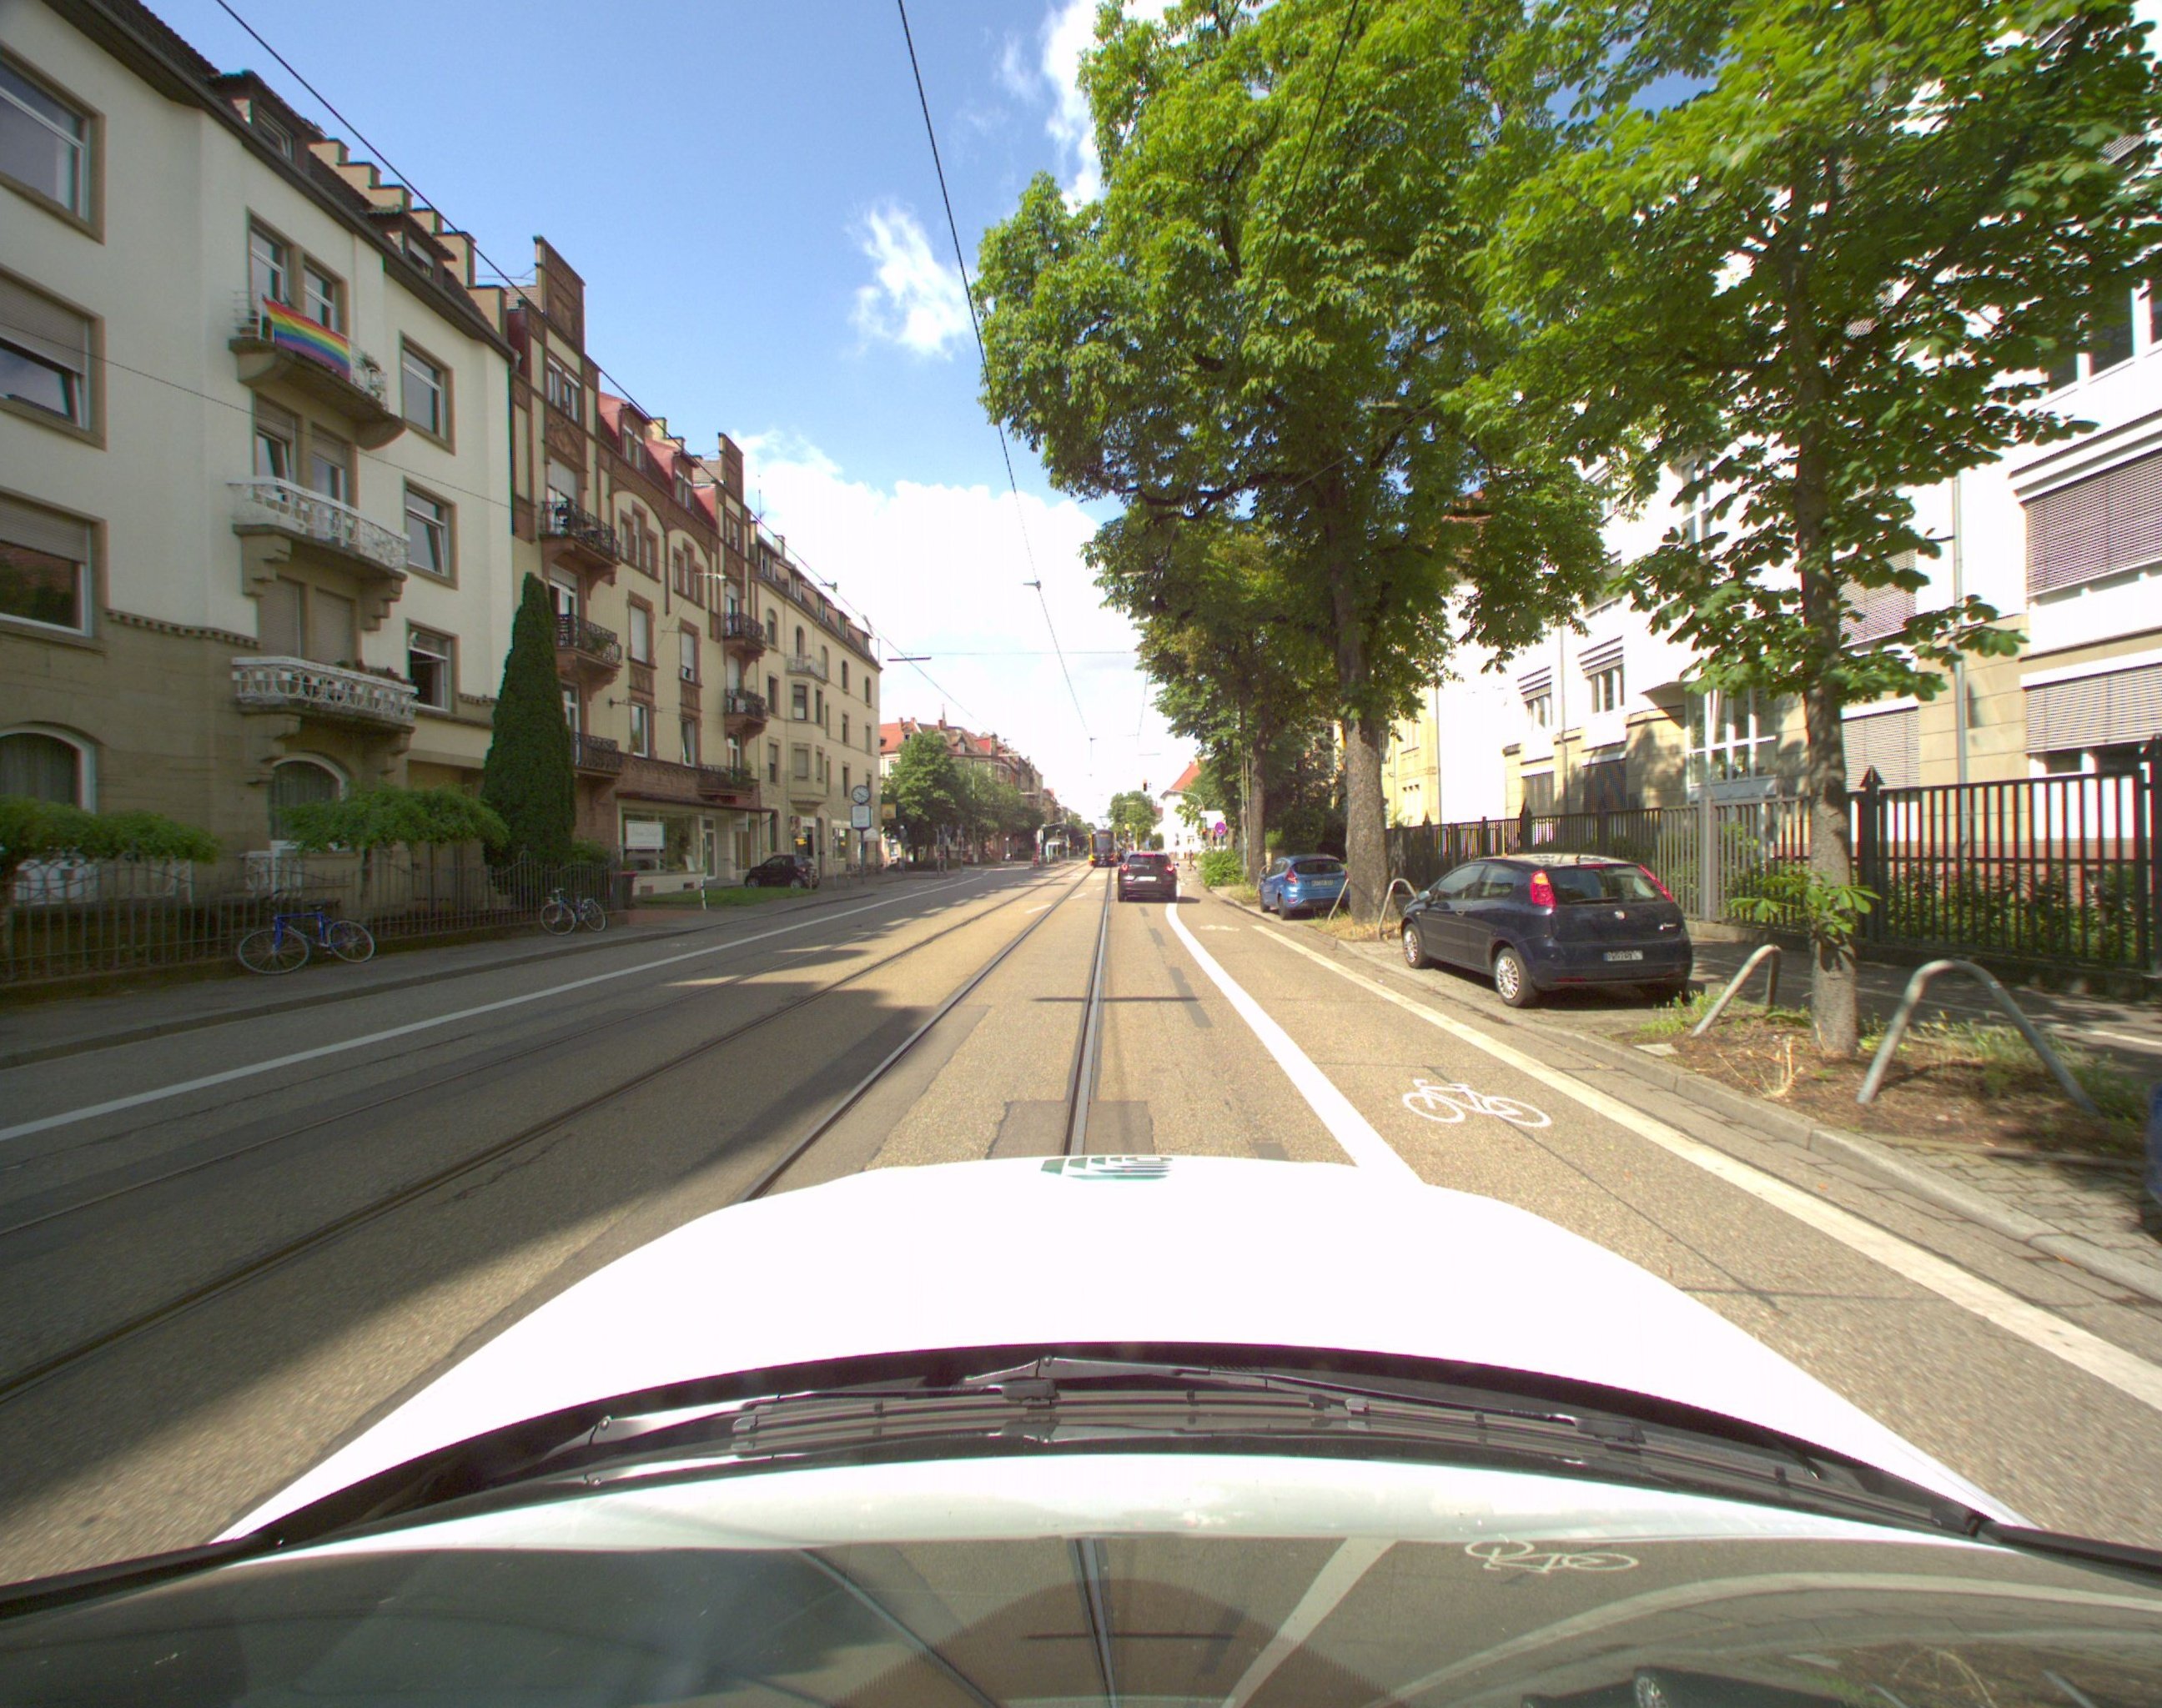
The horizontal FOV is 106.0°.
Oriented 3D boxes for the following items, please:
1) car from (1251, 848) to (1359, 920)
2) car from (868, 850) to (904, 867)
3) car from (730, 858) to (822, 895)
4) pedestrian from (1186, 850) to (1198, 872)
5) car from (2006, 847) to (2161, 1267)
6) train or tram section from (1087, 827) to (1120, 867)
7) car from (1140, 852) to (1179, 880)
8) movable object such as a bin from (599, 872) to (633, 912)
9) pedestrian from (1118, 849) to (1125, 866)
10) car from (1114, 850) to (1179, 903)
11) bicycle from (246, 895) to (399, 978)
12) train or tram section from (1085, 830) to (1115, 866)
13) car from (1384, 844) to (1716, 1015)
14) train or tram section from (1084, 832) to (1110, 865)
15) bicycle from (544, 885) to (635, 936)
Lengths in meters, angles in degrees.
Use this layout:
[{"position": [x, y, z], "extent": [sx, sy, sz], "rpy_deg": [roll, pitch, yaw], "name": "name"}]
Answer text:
[{"position": [5.337, 0.664, 19.869], "extent": [1.618, 1.496, 3.849], "rpy_deg": [-3, 0, 2], "name": "car"}, {"position": [-26.403, 0.597, 110.160], "extent": [4.093, 2.013, 2.007], "rpy_deg": [-5, 0, 11], "name": "car"}, {"position": [-12.972, 0.950, 34.713], "extent": [3.221, 1.513, 1.681], "rpy_deg": [0, 0, 5], "name": "car"}, {"position": [8.467, 0.520, 62.240], "extent": [0.870, 1.605, 0.632], "rpy_deg": [-1, 0, 5], "name": "pedestrian"}, {"position": [4.682, 0.715, 1.579], "extent": [1.634, 1.496, 3.627], "rpy_deg": [-3, 0, 0], "name": "car"}, {"position": [2.043, -0.624, 77.038], "extent": [2.644, 3.527, 8.492], "rpy_deg": [-2, 0, -1], "name": "train or tram section"}, {"position": [4.555, 0.642, 47.879], "extent": [1.779, 1.492, 4.882], "rpy_deg": [-2, 0, 0], "name": "car"}, {"position": [-13.002, 1.043, 22.776], "extent": [0.589, 1.069, 0.611], "rpy_deg": [1, 0, 36], "name": "movable object such as a bin"}, {"position": [3.922, 0.318, 79.031], "extent": [0.665, 1.605, 0.700], "rpy_deg": [-1, 0, 0], "name": "pedestrian"}, {"position": [2.003, 0.639, 25.865], "extent": [1.783, 1.512, 4.351], "rpy_deg": [0, 0, 1], "name": "car"}, {"position": [-10.406, 1.100, 11.253], "extent": [0.424, 0.959, 1.707], "rpy_deg": [0, 0, 4], "name": "bicycle"}, {"position": [1.922, -0.580, 85.543], "extent": [2.644, 3.527, 8.492], "rpy_deg": [-2, 0, -1], "name": "train or tram section"}, {"position": [5.029, 0.690, 9.396], "extent": [1.634, 1.496, 3.757], "rpy_deg": [-3, 0, 0], "name": "car"}, {"position": [1.807, -0.540, 94.047], "extent": [2.644, 3.527, 8.492], "rpy_deg": [-2, 0, -1], "name": "train or tram section"}, {"position": [-10.106, 1.141, 16.814], "extent": [0.508, 0.959, 1.819], "rpy_deg": [1, -1, 9], "name": "bicycle"}]
